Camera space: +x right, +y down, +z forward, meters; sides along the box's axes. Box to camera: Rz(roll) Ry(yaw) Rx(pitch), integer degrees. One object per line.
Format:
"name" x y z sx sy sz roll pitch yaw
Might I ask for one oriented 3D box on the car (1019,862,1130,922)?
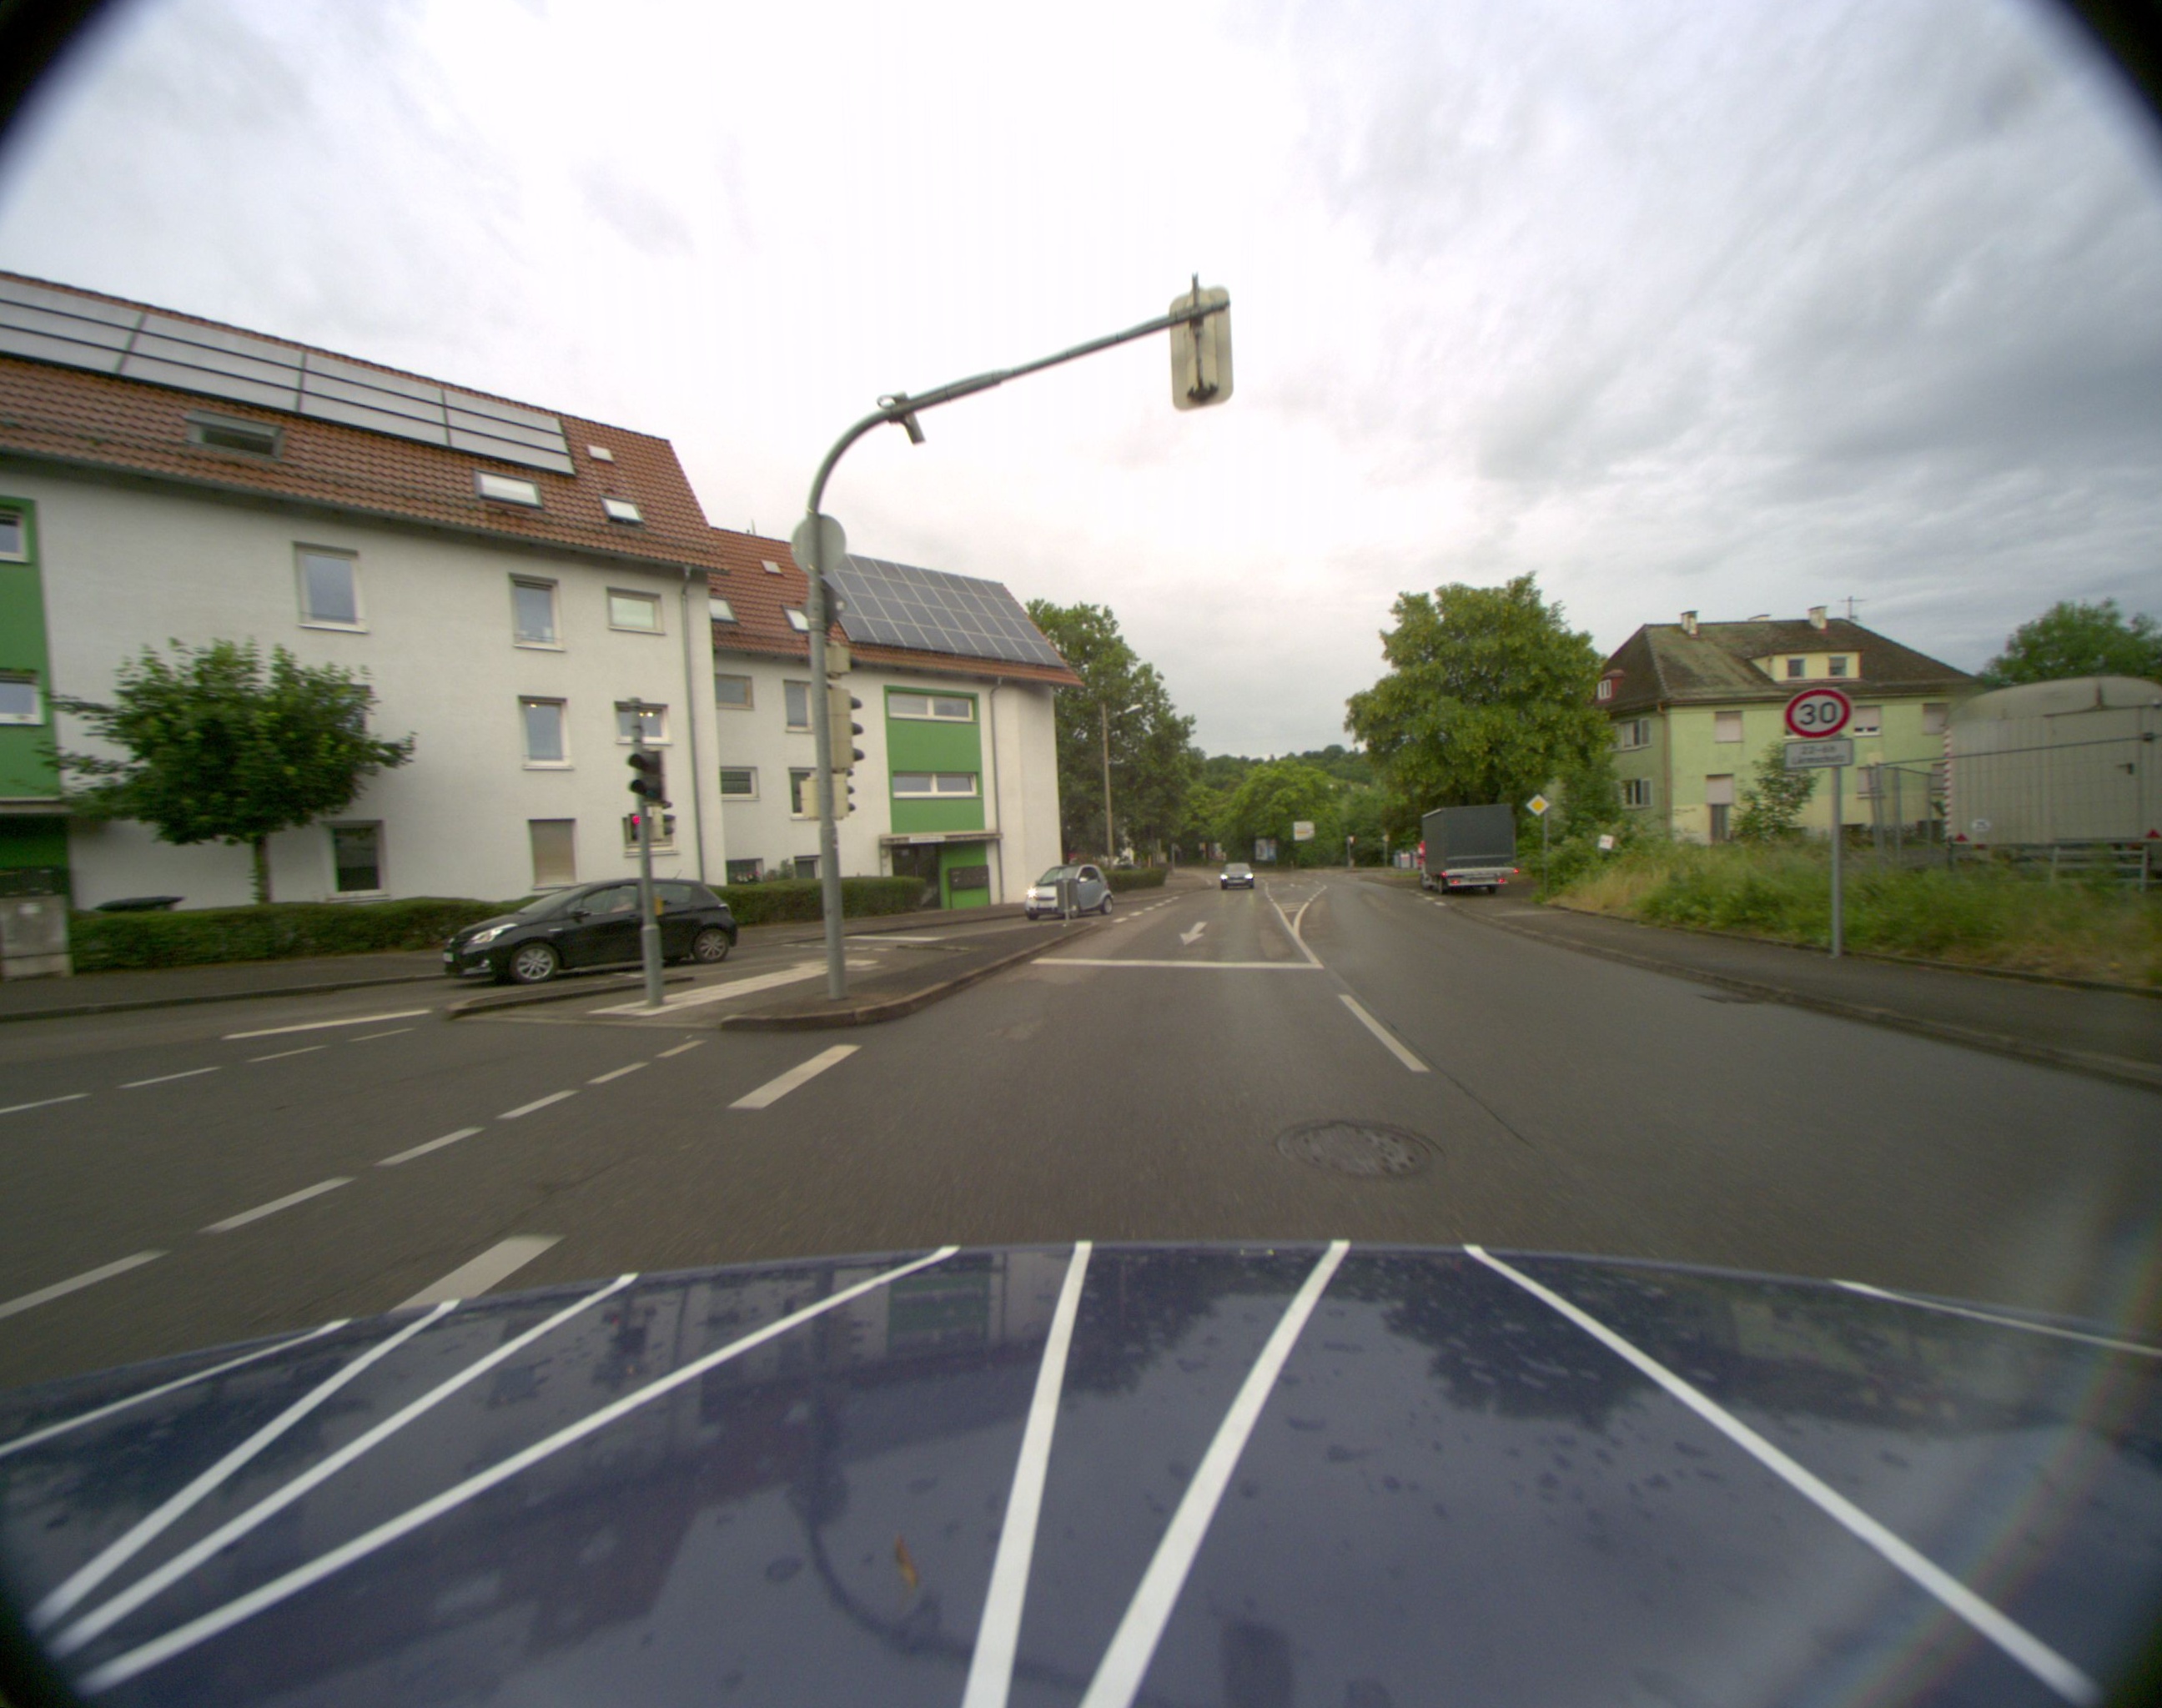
"car" -0.098 1.059 22.407 1.641 1.548 3.635 -2 0 29

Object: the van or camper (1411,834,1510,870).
"van or camper" 29.771 -0.169 59.641 6.695 2.507 2.222 -2 0 -5

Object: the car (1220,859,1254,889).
"car" 8.705 1.069 42.537 1.706 1.548 4.004 -2 0 11

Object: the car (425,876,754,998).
"car" -7.540 1.165 12.005 1.641 1.449 4.008 -3 -1 39

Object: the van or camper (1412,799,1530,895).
"van or camper" 15.526 -0.220 30.872 2.702 3.315 7.771 -2 0 16
